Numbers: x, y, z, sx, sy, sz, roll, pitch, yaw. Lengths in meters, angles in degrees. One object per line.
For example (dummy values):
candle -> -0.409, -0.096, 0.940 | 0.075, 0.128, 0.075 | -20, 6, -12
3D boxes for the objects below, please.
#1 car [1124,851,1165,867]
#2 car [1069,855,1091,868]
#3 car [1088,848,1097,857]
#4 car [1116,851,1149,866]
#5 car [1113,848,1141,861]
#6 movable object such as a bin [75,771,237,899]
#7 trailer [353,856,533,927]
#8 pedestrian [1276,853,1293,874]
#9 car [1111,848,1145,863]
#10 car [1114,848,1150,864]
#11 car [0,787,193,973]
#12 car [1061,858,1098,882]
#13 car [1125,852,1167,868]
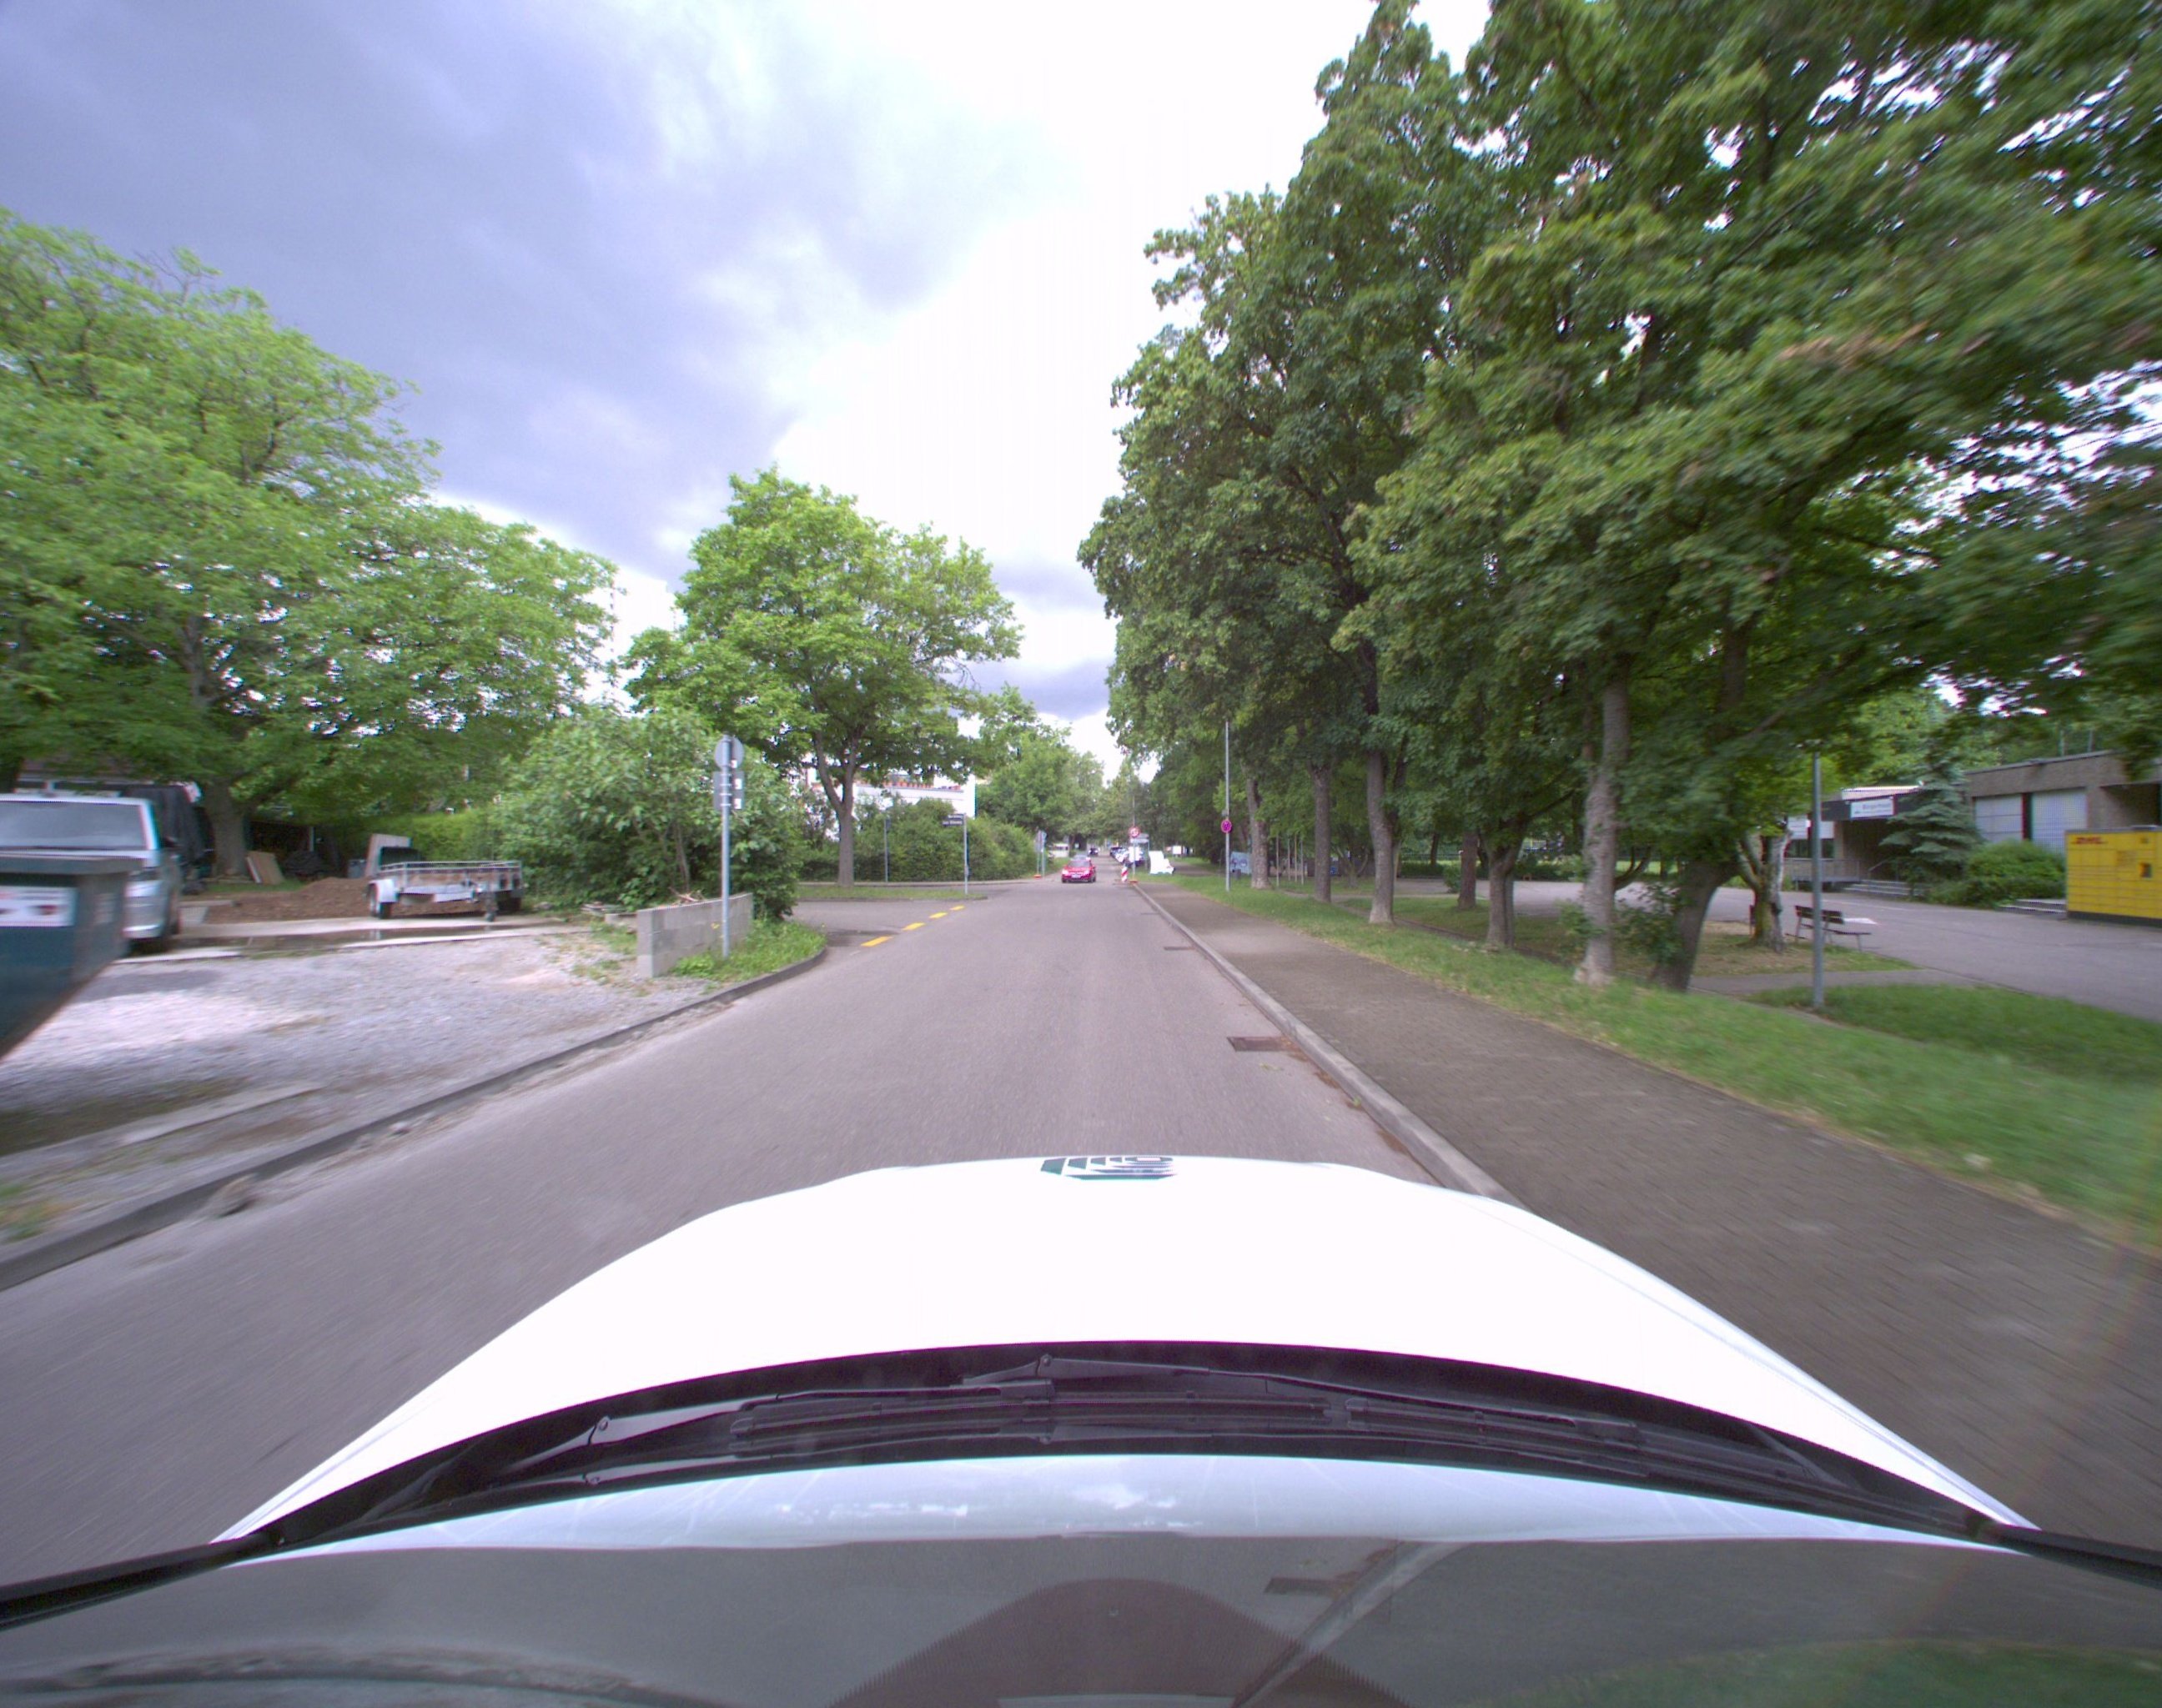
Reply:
car -> 6.473, 0.528, 82.932 | 4.049, 1.568, 1.822 | -1, -1, 0
car -> -0.076, 0.787, 83.731 | 1.772, 1.306, 4.303 | 0, 0, 6
car -> 2.382, -0.308, 173.090 | 1.962, 1.747, 4.338 | 0, 0, 0
car -> 6.814, 0.637, 107.606 | 4.053, 1.687, 1.821 | -4, 0, -3
car -> 7.189, 0.062, 127.741 | 4.053, 1.687, 1.821 | -4, 0, -3
movable object such as a bin -> -18.293, -0.381, 16.237 | 2.748, 2.280, 2.012 | 2, 2, 43
trailer -> -11.373, 0.577, 14.422 | 3.950, 1.047, 2.012 | 0, 0, 44
pedestrian -> 16.702, 0.810, 66.935 | 1.137, 1.674, 0.798 | -2, -2, 26
car -> 5.854, 0.203, 102.080 | 4.053, 1.687, 1.821 | -4, 0, -3
car -> 6.160, 0.237, 98.349 | 4.053, 1.687, 1.821 | -4, 0, -3
car -> -12.128, 0.197, 9.705 | 4.867, 1.805, 2.042 | 2, 1, 42
car -> -0.041, 0.895, 47.451 | 1.742, 1.335, 4.072 | 0, 0, 6
car -> 6.432, 0.568, 80.746 | 4.049, 1.434, 2.000 | -1, -1, 0
